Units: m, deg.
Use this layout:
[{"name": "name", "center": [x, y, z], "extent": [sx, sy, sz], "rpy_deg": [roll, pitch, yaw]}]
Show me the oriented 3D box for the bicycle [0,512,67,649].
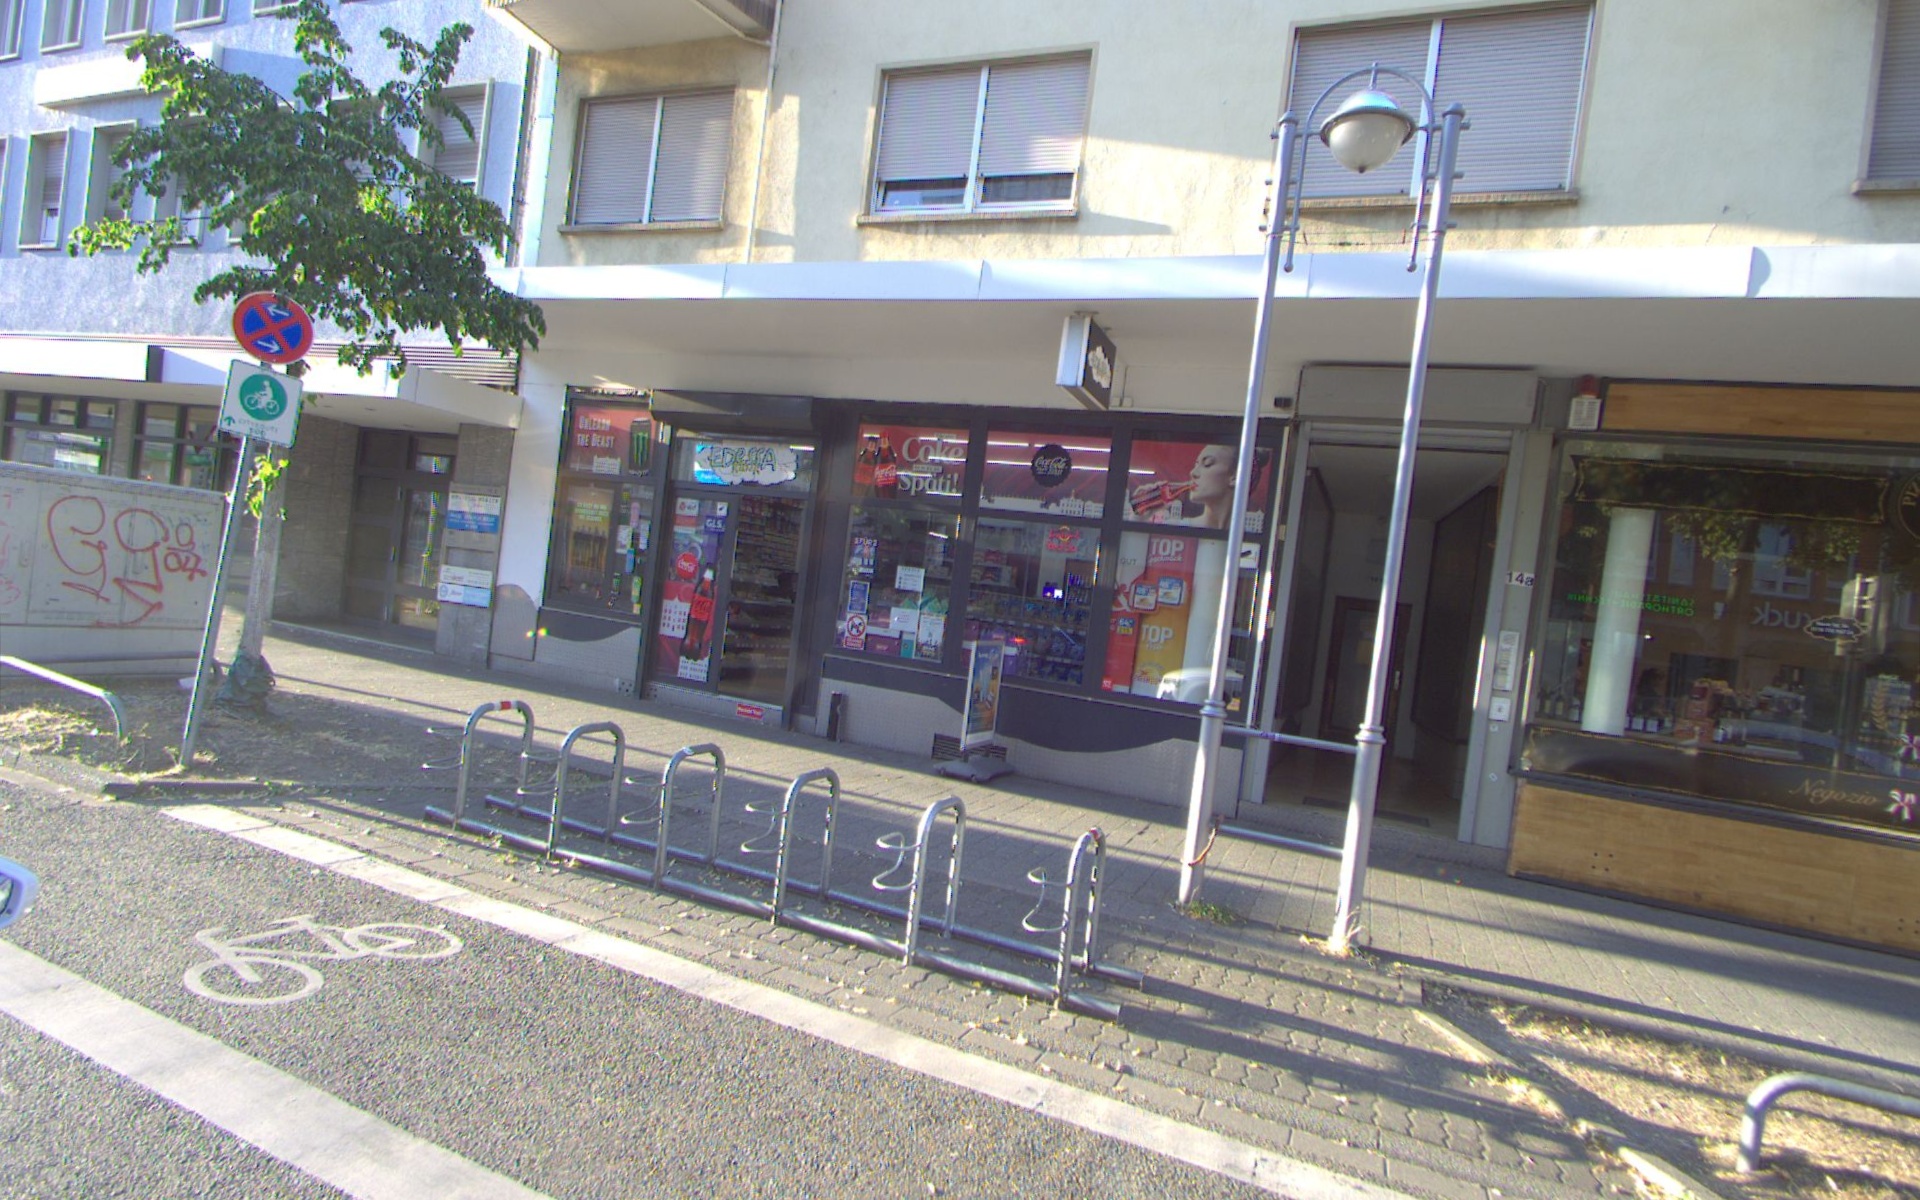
[{"name": "bicycle", "center": [-9.108, -0.228, 9.061], "extent": [0.376, 1.234, 1.445], "rpy_deg": [7, -1, 25]}]
